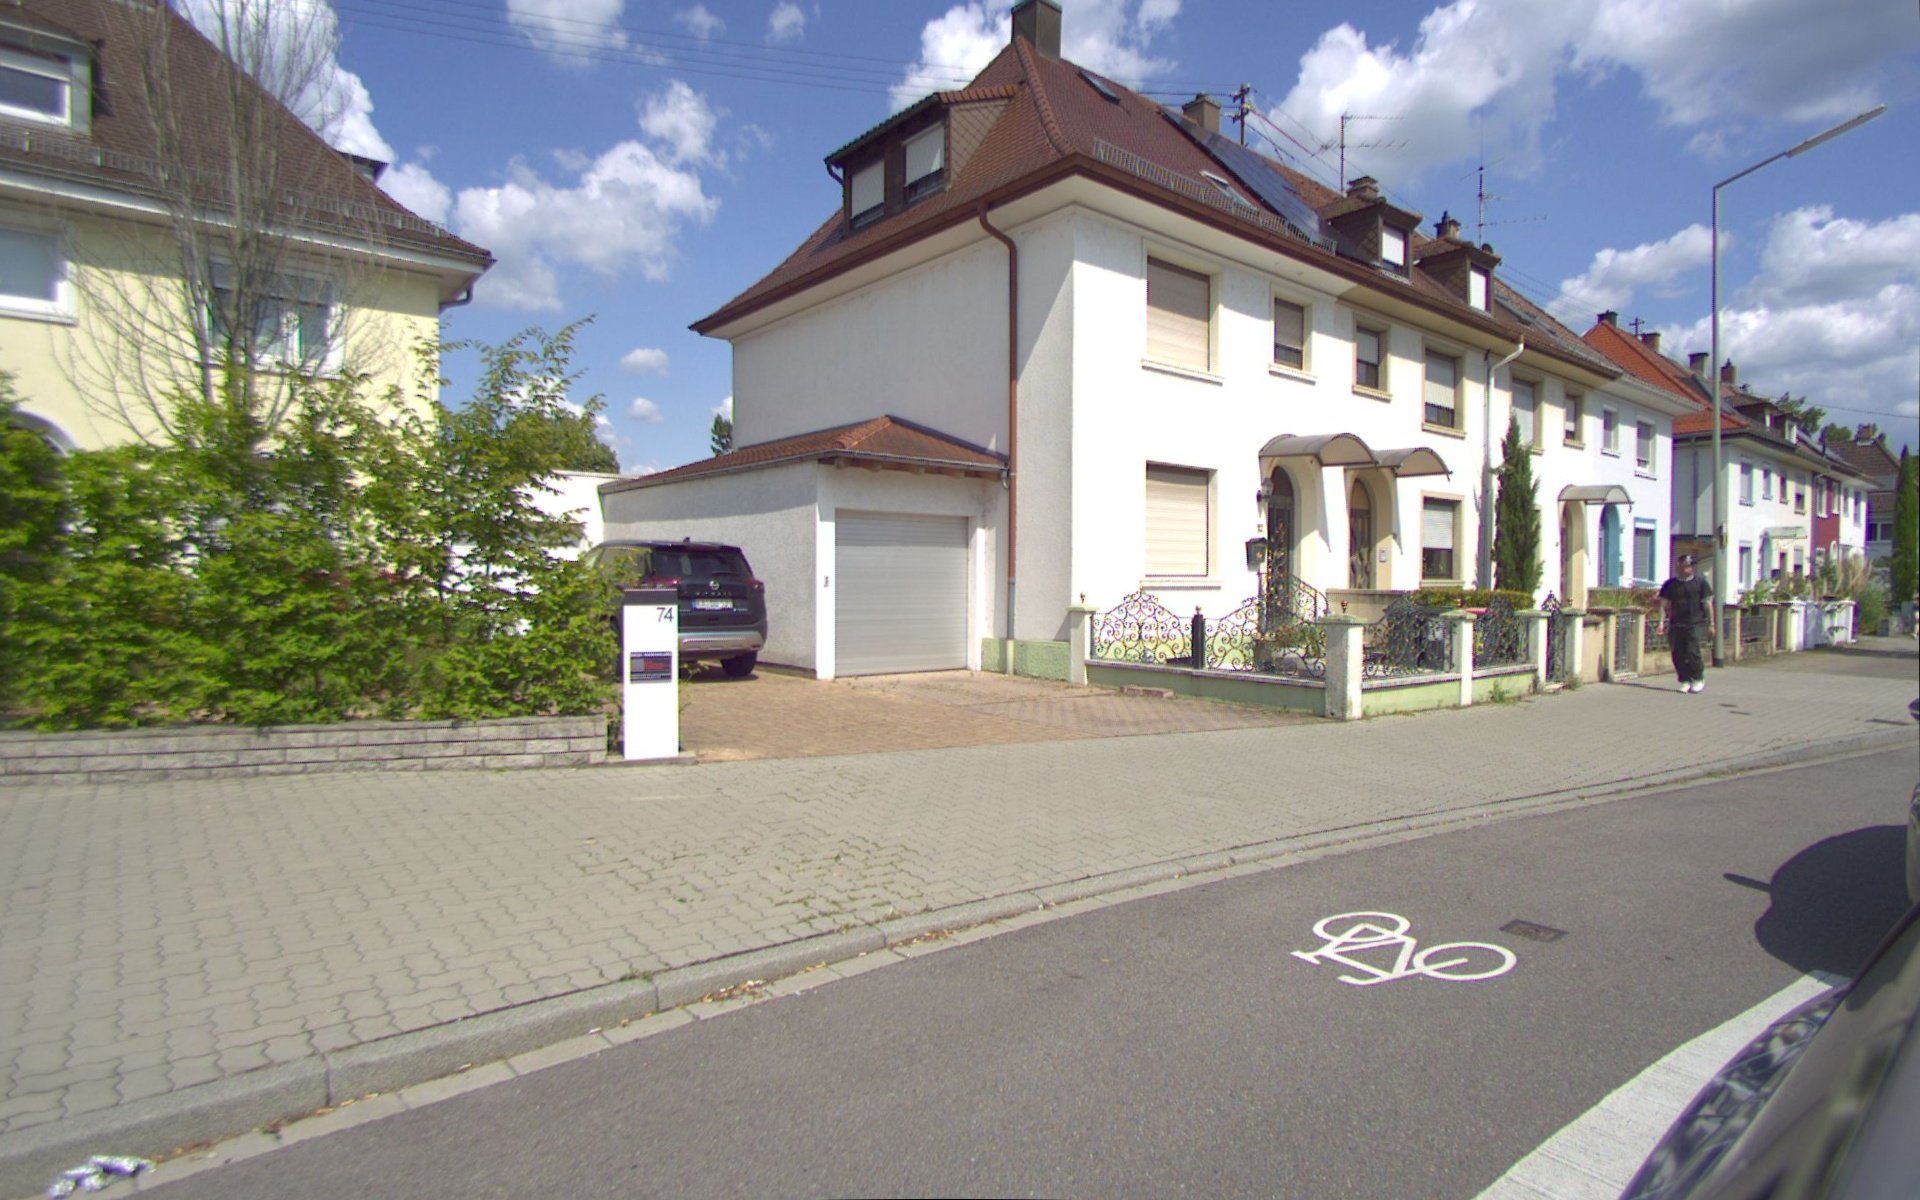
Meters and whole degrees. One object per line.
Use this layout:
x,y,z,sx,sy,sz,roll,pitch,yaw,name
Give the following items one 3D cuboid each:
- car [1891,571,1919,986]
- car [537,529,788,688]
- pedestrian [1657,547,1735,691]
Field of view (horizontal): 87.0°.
5.687,0.647,4.596,4.607,1.492,1.764,0,1,-43,car
-4.012,0.045,13.190,1.833,1.729,3.998,0,1,-37,car
9.549,0.229,13.126,0.921,1.790,0.592,0,1,-41,pedestrian
